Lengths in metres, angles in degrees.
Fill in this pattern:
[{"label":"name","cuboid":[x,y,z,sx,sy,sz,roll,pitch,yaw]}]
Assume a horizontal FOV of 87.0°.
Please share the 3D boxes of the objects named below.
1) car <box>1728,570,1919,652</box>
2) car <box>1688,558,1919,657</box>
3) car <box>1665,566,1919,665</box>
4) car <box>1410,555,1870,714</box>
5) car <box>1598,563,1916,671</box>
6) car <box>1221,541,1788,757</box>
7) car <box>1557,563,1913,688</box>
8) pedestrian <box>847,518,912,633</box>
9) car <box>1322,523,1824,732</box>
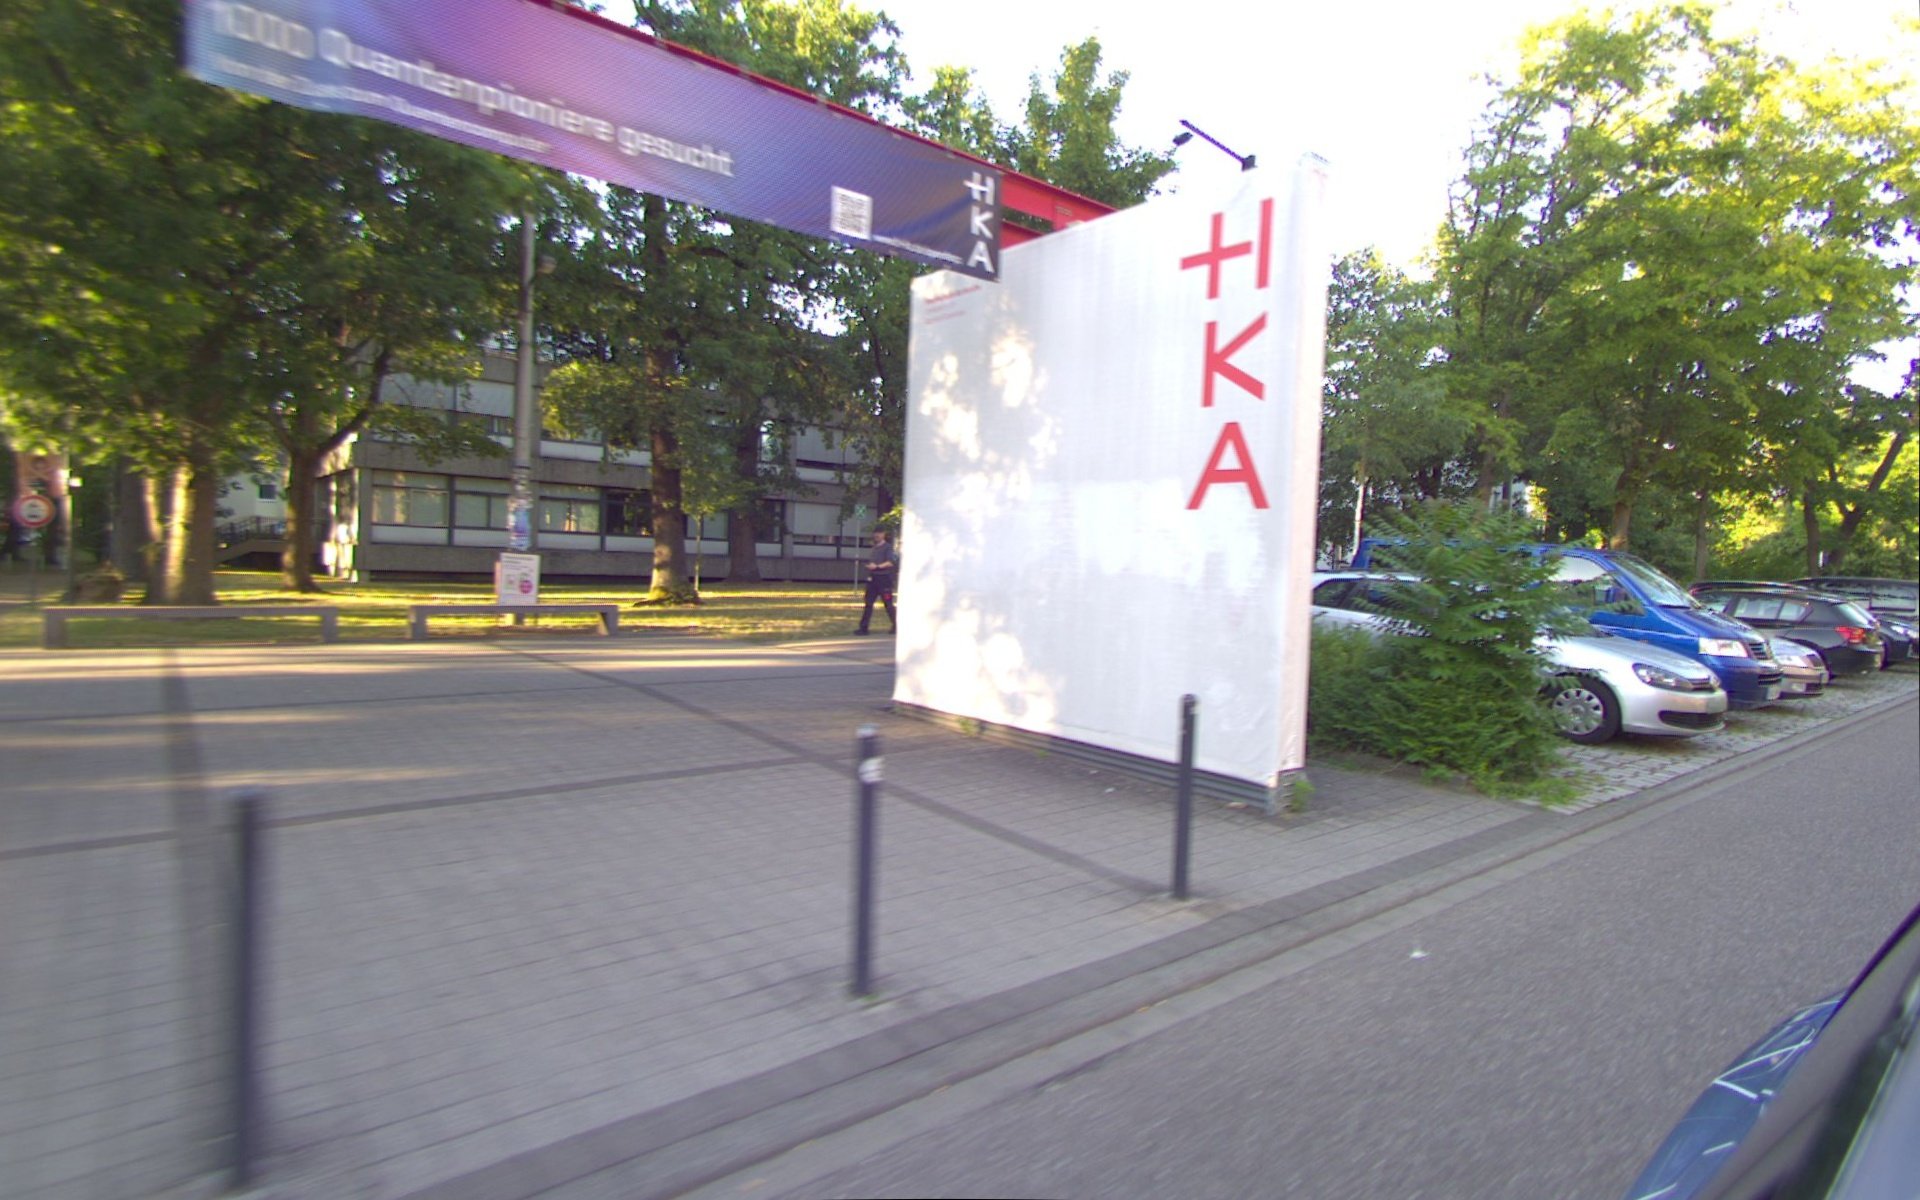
[{"label":"car","cuboid":[21.038,0.249,23.814,1.696,1.572,4.375,0,5,-40]},{"label":"car","cuboid":[19.201,0.105,22.577,1.886,1.801,4.375,0,5,-40]},{"label":"car","cuboid":[17.253,0.250,20.585,1.843,1.572,4.375,0,5,-40]},{"label":"car","cuboid":[9.204,0.311,14.149,1.882,1.572,4.941,0,5,-40]},{"label":"car","cuboid":[14.952,0.220,19.205,1.886,1.555,4.375,0,5,-40]},{"label":"car","cuboid":[5.464,0.302,10.855,1.882,1.572,4.941,0,5,-40]},{"label":"car","cuboid":[12.886,0.313,17.081,1.886,1.555,4.375,0,5,-40]},{"label":"pedestrian","cuboid":[-1.298,-0.396,16.323,0.777,1.794,0.648,0,2,-44]},{"label":"car","cuboid":[7.259,0.129,12.525,1.882,1.938,4.866,0,5,-40]}]
